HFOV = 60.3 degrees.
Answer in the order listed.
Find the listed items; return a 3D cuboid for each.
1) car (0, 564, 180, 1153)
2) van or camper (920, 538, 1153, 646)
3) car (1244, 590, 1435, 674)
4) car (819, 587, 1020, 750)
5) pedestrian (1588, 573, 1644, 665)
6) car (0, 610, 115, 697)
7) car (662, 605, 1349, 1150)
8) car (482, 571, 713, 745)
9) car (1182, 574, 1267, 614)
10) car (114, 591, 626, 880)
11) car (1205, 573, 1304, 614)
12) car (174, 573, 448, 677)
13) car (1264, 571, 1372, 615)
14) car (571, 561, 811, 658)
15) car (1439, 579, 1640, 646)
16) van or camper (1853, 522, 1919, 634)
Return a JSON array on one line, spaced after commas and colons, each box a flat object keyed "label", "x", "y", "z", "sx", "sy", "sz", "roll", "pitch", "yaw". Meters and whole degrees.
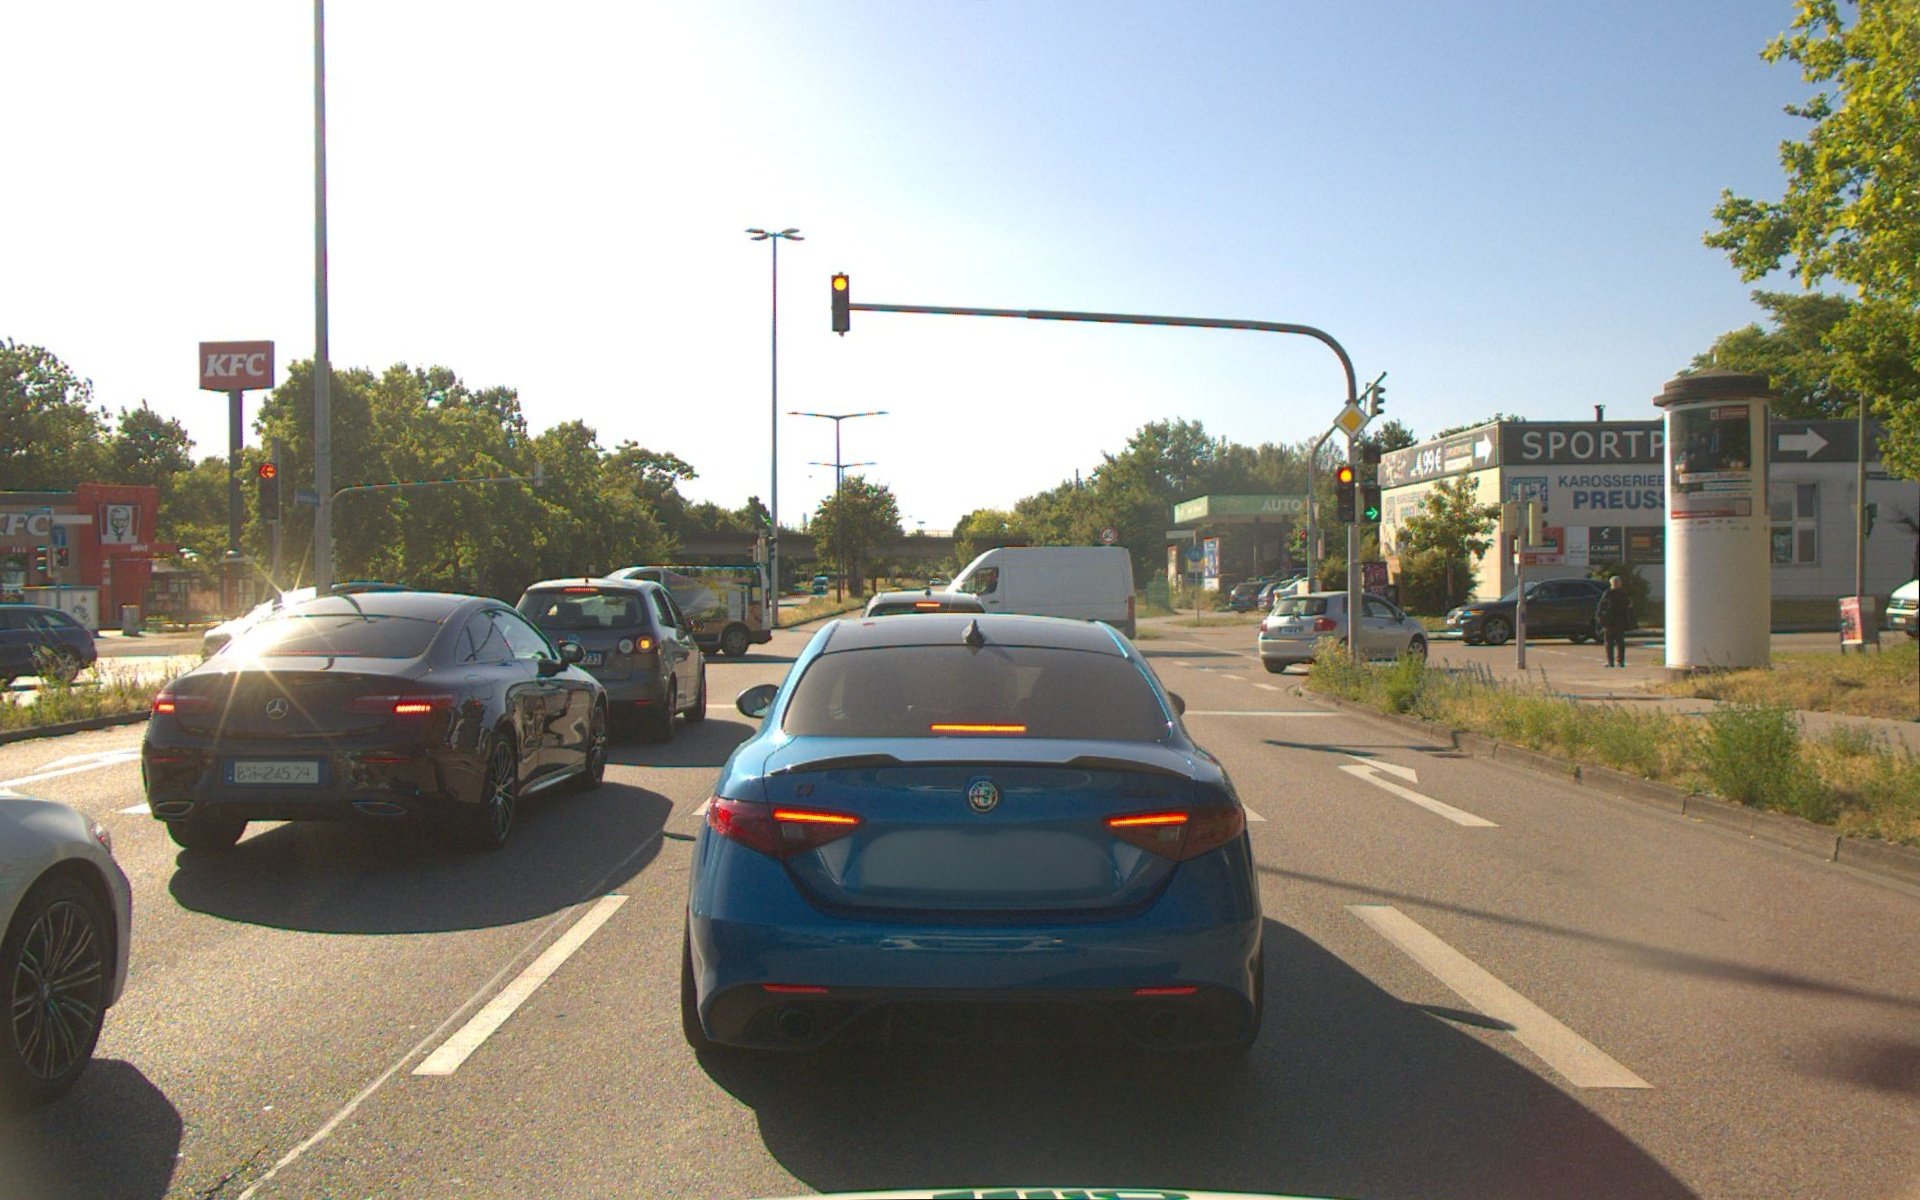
[{"label": "car", "x": -3.354, "y": 0.685, "z": 3.092, "sx": 1.732, "sy": 1.535, "sz": 4.460, "roll": 0, "pitch": 0, "yaw": -1}, {"label": "van or camper", "x": 1.915, "y": -0.211, "z": 42.524, "sx": 5.820, "sy": 2.697, "sz": 1.998, "roll": 0, "pitch": 0, "yaw": -5}, {"label": "car", "x": 7.374, "y": 0.575, "z": 31.915, "sx": 3.959, "sy": 1.503, "sz": 1.713, "roll": 0, "pitch": 0, "yaw": -44}, {"label": "car", "x": -0.398, "y": 0.610, "z": 17.050, "sx": 1.828, "sy": 1.475, "sz": 3.931, "roll": 0, "pitch": 0, "yaw": -1}, {"label": "pedestrian", "x": 12.677, "y": 0.355, "z": 31.969, "sx": 0.805, "sy": 1.752, "sz": 0.854, "roll": 0, "pitch": 0, "yaw": 6}, {"label": "car", "x": -17.436, "y": 0.945, "z": 28.977, "sx": 1.865, "sy": 1.471, "sz": 4.607, "roll": 0, "pitch": 0, "yaw": 22}, {"label": "car", "x": 0.097, "y": 0.749, "z": 6.380, "sx": 1.828, "sy": 1.409, "sz": 3.931, "roll": 0, "pitch": 0, "yaw": -1}, {"label": "car", "x": -3.679, "y": 0.526, "z": 17.416, "sx": 1.615, "sy": 1.626, "sz": 3.931, "roll": 0, "pitch": 0, "yaw": -1}, {"label": "car", "x": 11.870, "y": -0.265, "z": 74.327, "sx": 3.428, "sy": 1.736, "sz": 1.688, "roll": 0, "pitch": 0, "yaw": -17}, {"label": "car", "x": -3.419, "y": 0.672, "z": 10.565, "sx": 1.732, "sy": 1.439, "sz": 4.460, "roll": 0, "pitch": 0, "yaw": -1}, {"label": "car", "x": 12.665, "y": -0.270, "z": 71.149, "sx": 3.928, "sy": 1.736, "sz": 1.686, "roll": 0, "pitch": 0, "yaw": -20}, {"label": "car", "x": -11.527, "y": 0.394, "z": 29.688, "sx": 1.844, "sy": 1.719, "sz": 4.428, "roll": 0, "pitch": 0, "yaw": 30}, {"label": "car", "x": 14.338, "y": -0.281, "z": 66.319, "sx": 3.923, "sy": 1.736, "sz": 1.687, "roll": 0, "pitch": 0, "yaw": -17}, {"label": "car", "x": -6.001, "y": 0.179, "z": 37.019, "sx": 4.952, "sy": 2.049, "sz": 1.982, "roll": 0, "pitch": 0, "yaw": -28}, {"label": "car", "x": 14.965, "y": 0.301, "z": 42.861, "sx": 4.506, "sy": 1.682, "sz": 1.999, "roll": 0, "pitch": 0, "yaw": -2}, {"label": "van or camper", "x": 25.473, "y": -0.509, "z": 39.989, "sx": 6.593, "sy": 2.617, "sz": 2.185, "roll": 0, "pitch": 0, "yaw": 0}]
